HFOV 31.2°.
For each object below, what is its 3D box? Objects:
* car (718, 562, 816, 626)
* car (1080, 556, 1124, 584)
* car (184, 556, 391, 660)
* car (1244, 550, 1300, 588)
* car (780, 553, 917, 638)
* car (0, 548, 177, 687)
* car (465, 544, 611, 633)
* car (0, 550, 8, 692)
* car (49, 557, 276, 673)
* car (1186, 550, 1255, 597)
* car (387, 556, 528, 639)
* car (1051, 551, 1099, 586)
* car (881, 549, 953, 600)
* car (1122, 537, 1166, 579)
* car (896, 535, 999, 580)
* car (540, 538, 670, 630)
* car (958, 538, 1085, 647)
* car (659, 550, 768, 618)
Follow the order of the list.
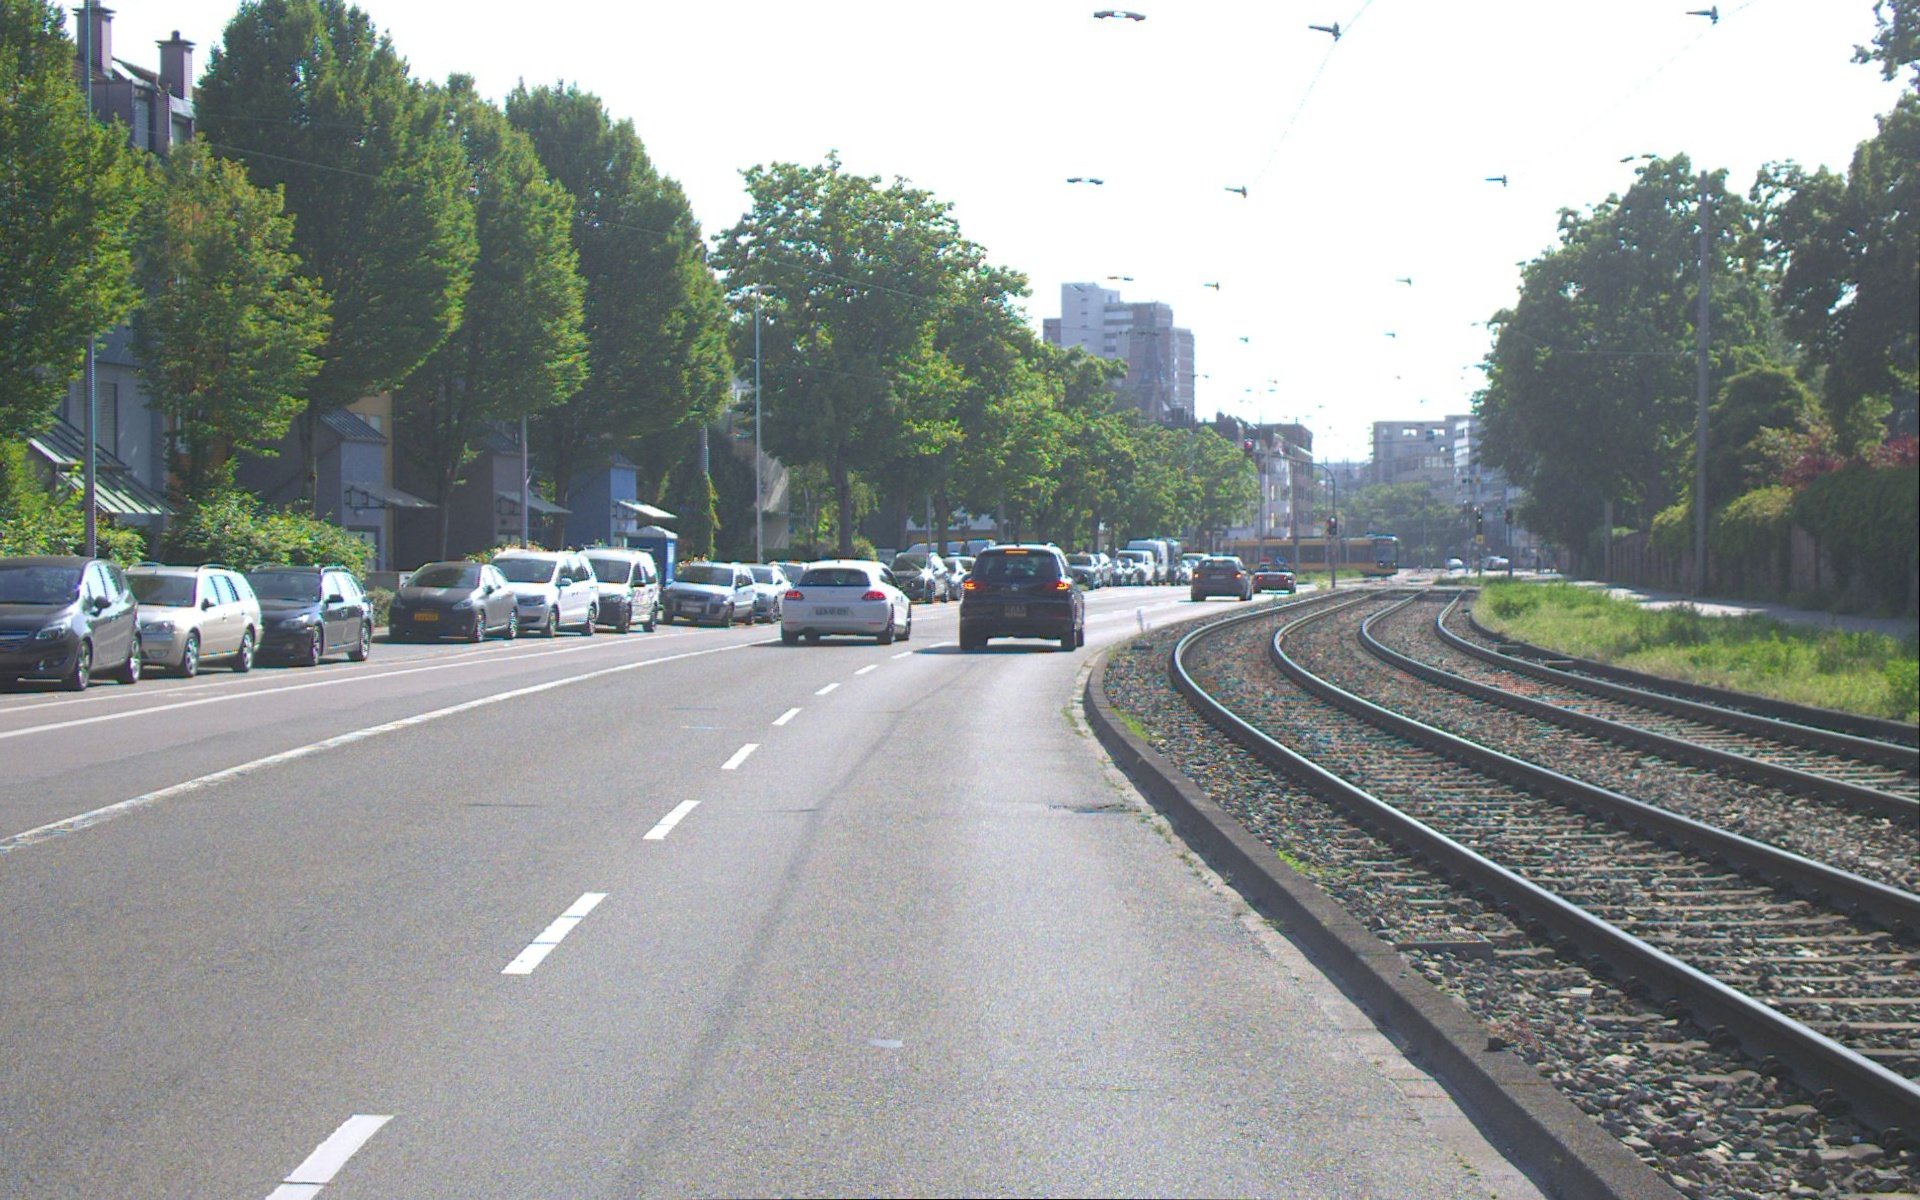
[{"bbox_3d":[-5.067,-0.191,91.034,1.749,1.505,4.754,4,1,6],"label":"car"},{"bbox_3d":[7.345,-1.579,177.396,1.732,1.384,3.733,0,1,10],"label":"car"},{"bbox_3d":[-10.345,0.086,53.232,1.710,1.467,4.908,2,1,6],"label":"car"},{"bbox_3d":[12.647,-1.259,139.168,1.812,1.444,3.998,2,1,11],"label":"car"},{"bbox_3d":[-1.814,-0.102,57.160,1.865,1.343,4.000,0,1,4],"label":"car"},{"bbox_3d":[-11.118,0.170,42.094,1.763,1.568,4.298,2,1,4],"label":"car"},{"bbox_3d":[-8.539,-0.254,69.955,1.669,1.695,4.822,2,1,9],"label":"car"},{"bbox_3d":[-11.534,0.237,36.165,1.762,1.568,4.162,0,0,2],"label":"car"},{"bbox_3d":[-10.934,0.202,47.472,1.712,1.466,4.844,2,0,3],"label":"car"},{"bbox_3d":[8.517,-0.885,111.974,1.812,1.444,3.998,2,1,10],"label":"car"},{"bbox_3d":[-9.416,-0.074,64.642,1.616,1.461,4.057,2,1,6],"label":"car"},{"bbox_3d":[5.557,-1.515,165.554,1.732,1.652,3.998,0,1,10],"label":"car"},{"bbox_3d":[-1.452,-0.888,117.436,1.712,1.688,4.420,0,1,9],"label":"car"},{"bbox_3d":[10.435,-2.368,194.991,1.864,2.339,4.983,0,1,10],"label":"car"},{"bbox_3d":[-0.694,-2.368,189.921,5.377,2.415,2.087,0,1,9],"label":"car"},{"bbox_3d":[-7.824,-0.375,76.140,1.763,1.839,4.579,5,1,7],"label":"car"},{"bbox_3d":[1.004,-0.127,54.271,1.811,1.639,4.000,1,1,4],"label":"car"},{"bbox_3d":[-6.125,-0.414,85.876,1.763,1.533,3.980,5,1,9],"label":"car"}]
